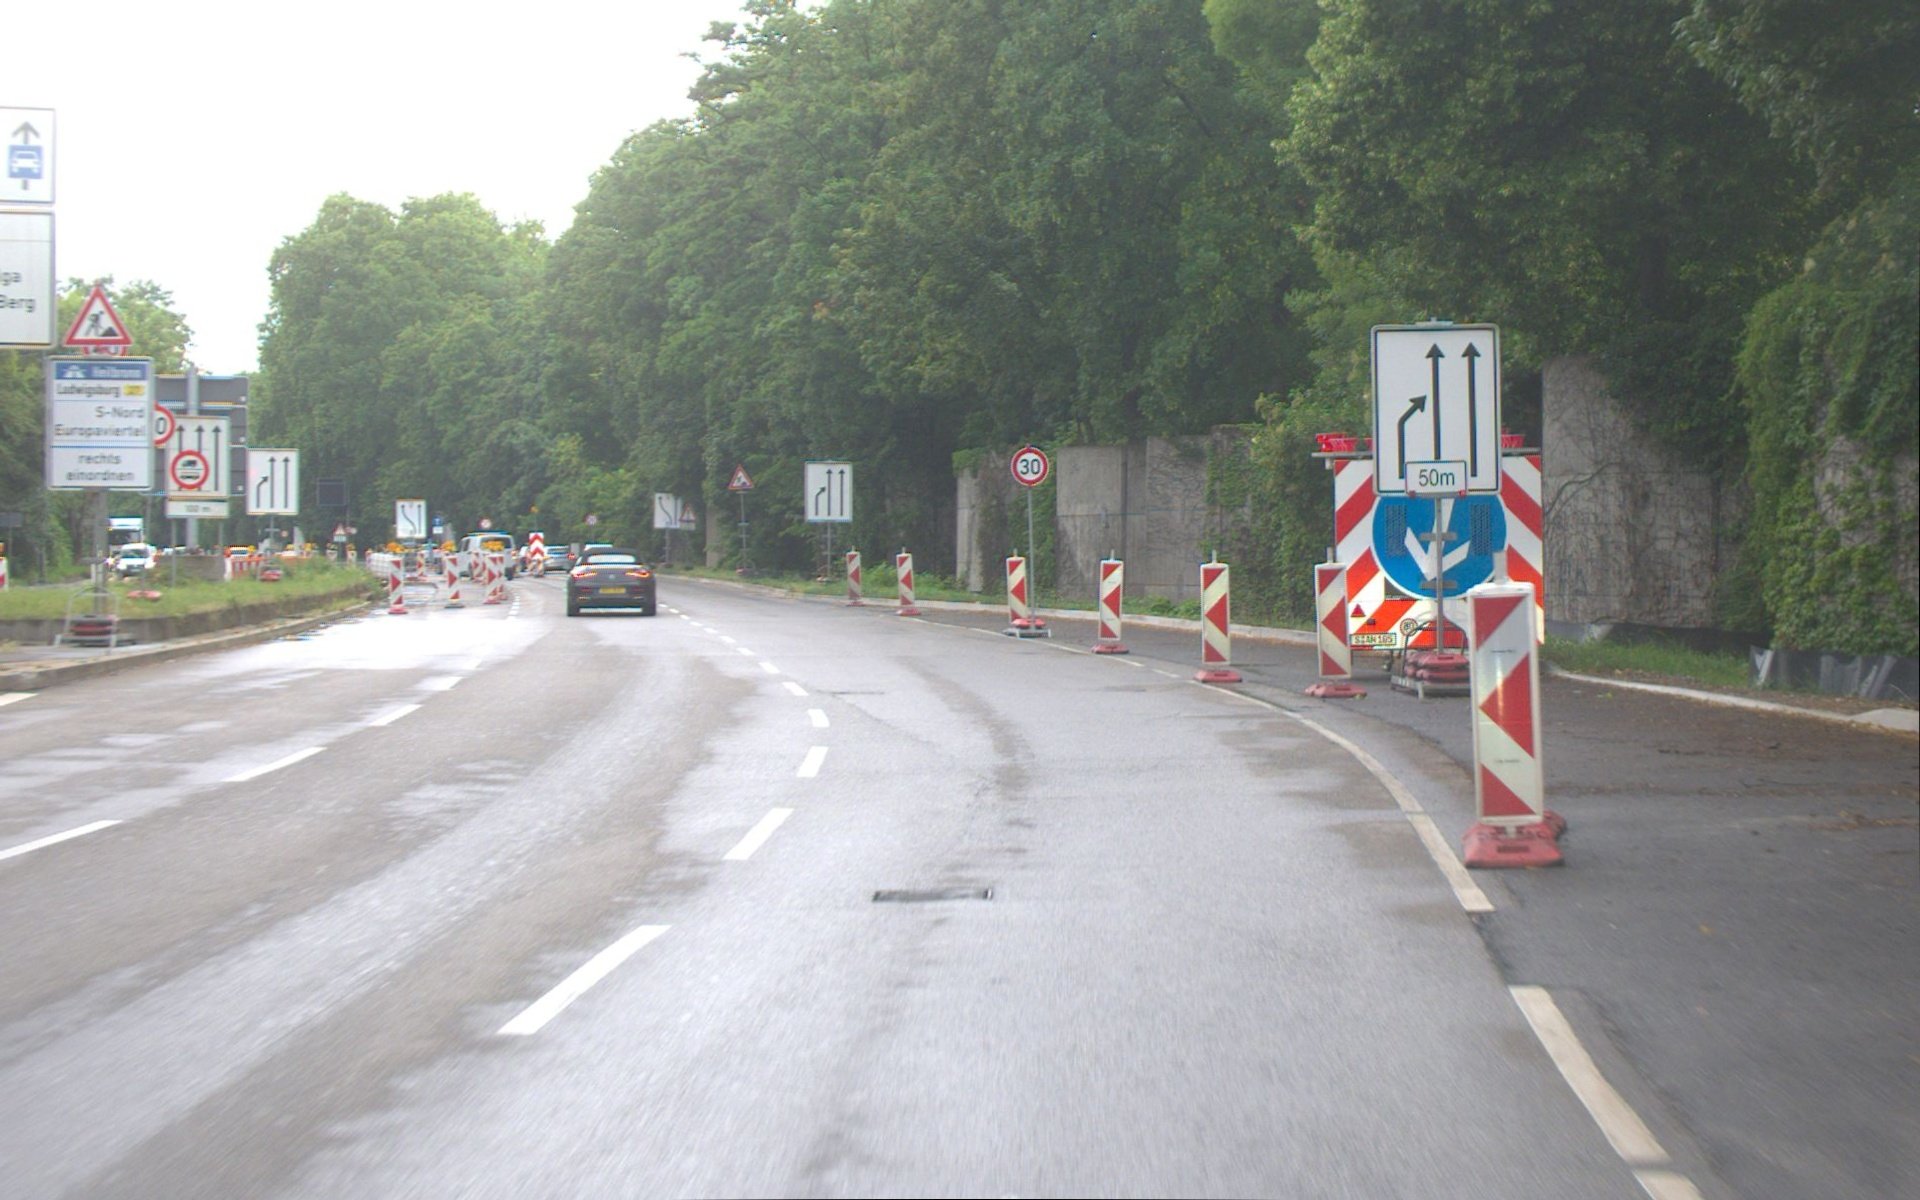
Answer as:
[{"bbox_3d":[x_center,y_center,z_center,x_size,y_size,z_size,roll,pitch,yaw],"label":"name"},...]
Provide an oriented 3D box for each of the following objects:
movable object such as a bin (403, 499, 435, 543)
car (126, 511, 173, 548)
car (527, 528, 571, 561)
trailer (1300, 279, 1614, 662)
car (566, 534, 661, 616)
[{"bbox_3d":[-35.640,-5.191,226.382,1.746,2.857,3.535,-1,1,-14],"label":"movable object such as a bin"},{"bbox_3d":[-40.985,-3.577,173.899,1.913,1.775,4.835,0,2,-9],"label":"car"},{"bbox_3d":[-20.975,-2.846,175.287,1.861,1.486,4.002,1,3,-12],"label":"car"},{"bbox_3d":[4.987,-1.280,35.412,2.307,3.577,5.960,-1,1,0],"label":"trailer"},{"bbox_3d":[-7.281,-0.548,72.524,1.862,1.486,4.001,1,3,-4],"label":"car"}]
